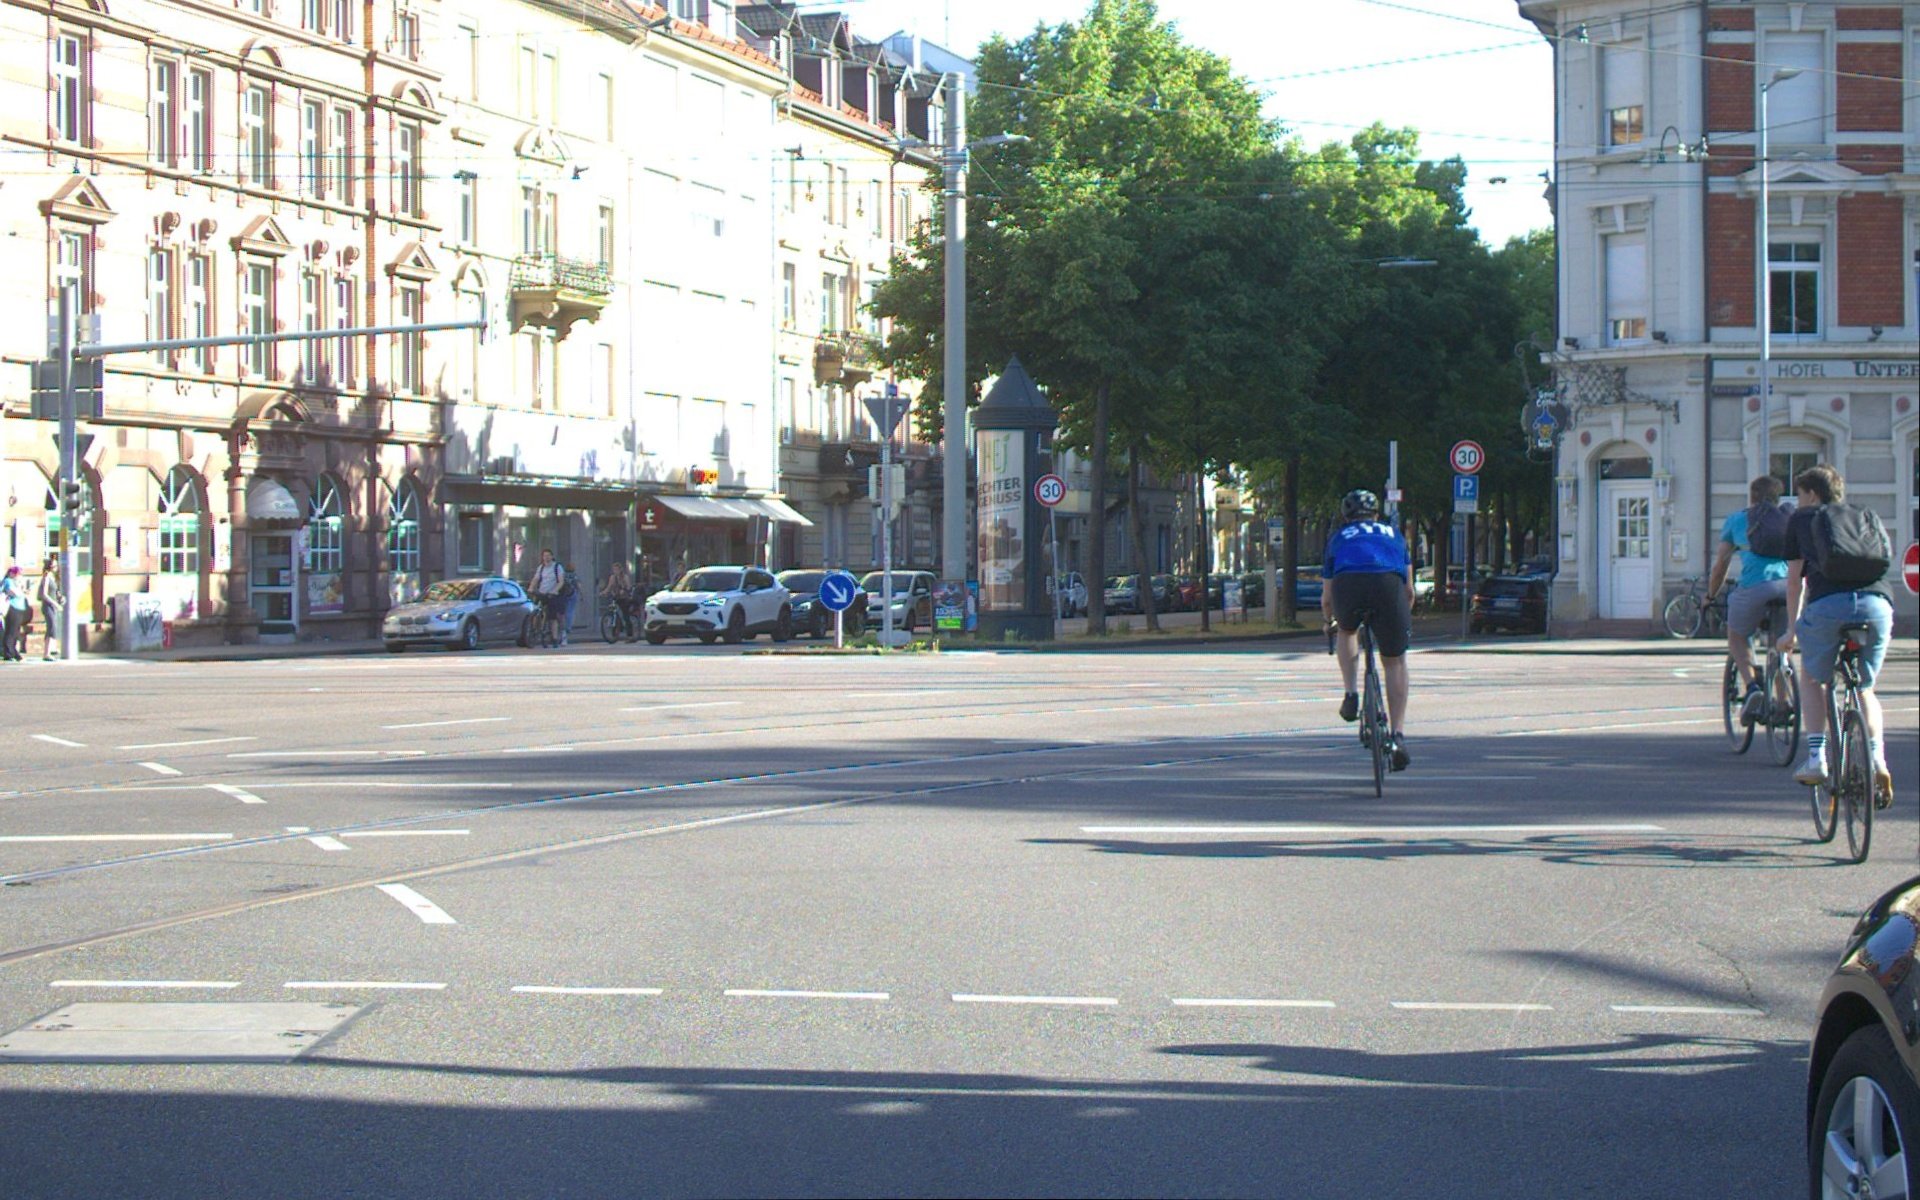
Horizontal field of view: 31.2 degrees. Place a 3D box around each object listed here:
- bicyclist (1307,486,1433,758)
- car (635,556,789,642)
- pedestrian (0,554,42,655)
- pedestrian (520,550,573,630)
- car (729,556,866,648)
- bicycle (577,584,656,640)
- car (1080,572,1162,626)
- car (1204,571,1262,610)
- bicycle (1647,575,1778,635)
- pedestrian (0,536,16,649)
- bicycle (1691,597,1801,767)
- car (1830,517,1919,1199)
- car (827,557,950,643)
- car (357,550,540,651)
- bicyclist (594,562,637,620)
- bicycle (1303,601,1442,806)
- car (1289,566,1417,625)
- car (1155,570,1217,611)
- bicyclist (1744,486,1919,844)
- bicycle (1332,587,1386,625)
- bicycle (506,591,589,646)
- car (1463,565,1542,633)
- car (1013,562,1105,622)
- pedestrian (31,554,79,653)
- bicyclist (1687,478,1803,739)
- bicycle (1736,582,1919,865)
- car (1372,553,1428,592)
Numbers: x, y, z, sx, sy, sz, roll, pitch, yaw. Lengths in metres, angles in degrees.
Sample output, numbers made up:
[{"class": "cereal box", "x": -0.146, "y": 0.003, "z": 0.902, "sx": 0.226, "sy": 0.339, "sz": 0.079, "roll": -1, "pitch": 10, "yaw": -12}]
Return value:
[{"class": "bicyclist", "x": 2.310, "y": 0.109, "z": 19.442, "sx": 0.639, "sy": 1.489, "sz": 0.883, "roll": 1, "pitch": 2, "yaw": 4}, {"class": "car", "x": -4.830, "y": -0.035, "z": 67.388, "sx": 1.994, "sy": 1.612, "sz": 3.998, "roll": 1, "pitch": 1, "yaw": 11}, {"class": "pedestrian", "x": -15.337, "y": 0.063, "z": 55.917, "sx": 0.633, "sy": 1.628, "sz": 0.701, "roll": 1, "pitch": 0, "yaw": -4}, {"class": "pedestrian", "x": -7.835, "y": -0.188, "z": 65.220, "sx": 0.821, "sy": 1.507, "sz": 0.598, "roll": 1, "pitch": 0, "yaw": 15}, {"class": "car", "x": -3.456, "y": 0.018, "z": 73.790, "sx": 1.994, "sy": 1.897, "sz": 3.998, "roll": 1, "pitch": 1, "yaw": 11}, {"class": "bicycle", "x": -7.027, "y": 0.236, "z": 70.506, "sx": 0.651, "sy": 1.119, "sz": 2.250, "roll": 1, "pitch": 1, "yaw": 21}, {"class": "car", "x": 5.758, "y": -0.047, "z": 122.695, "sx": 1.995, "sy": 1.897, "sz": 3.997, "roll": 1, "pitch": 1, "yaw": 17}, {"class": "car", "x": 10.800, "y": -0.389, "z": 135.838, "sx": 1.560, "sy": 1.508, "sz": 3.653, "roll": 1, "pitch": 1, "yaw": 17}, {"class": "bicycle", "x": 12.490, "y": 0.081, "z": 57.104, "sx": 2.049, "sy": 0.994, "sz": 0.630, "roll": 0, "pitch": 0, "yaw": 3}, {"class": "pedestrian", "x": -16.143, "y": -0.133, "z": 57.382, "sx": 0.633, "sy": 1.875, "sz": 0.465, "roll": 1, "pitch": 0, "yaw": -4}, {"class": "bicycle", "x": 5.056, "y": 0.506, "z": 22.140, "sx": 0.650, "sy": 1.028, "sz": 1.770, "roll": 1, "pitch": 1, "yaw": 13}, {"class": "car", "x": 2.636, "y": 0.686, "z": 4.841, "sx": 1.728, "sy": 1.502, "sz": 4.051, "roll": 1, "pitch": 2, "yaw": -1}, {"class": "car", "x": -1.631, "y": -0.017, "z": 79.810, "sx": 1.994, "sy": 1.897, "sz": 3.998, "roll": 1, "pitch": 1, "yaw": 11}, {"class": "car", "x": -9.953, "y": -0.005, "z": 67.168, "sx": 1.995, "sy": 1.897, "sz": 3.997, "roll": 1, "pitch": 1, "yaw": 17}, {"class": "bicyclist", "x": -7.046, "y": -0.187, "z": 70.379, "sx": 0.632, "sy": 1.181, "sz": 0.684, "roll": 1, "pitch": 0, "yaw": 21}, {"class": "bicycle", "x": 2.305, "y": 0.556, "z": 19.373, "sx": 0.626, "sy": 1.081, "sz": 1.703, "roll": 1, "pitch": 1, "yaw": 2}, {"class": "car", "x": 13.152, "y": -0.164, "z": 114.987, "sx": 3.990, "sy": 1.897, "sz": 1.998, "roll": 1, "pitch": 0, "yaw": 16}, {"class": "car", "x": 8.691, "y": -0.372, "z": 131.870, "sx": 1.560, "sy": 1.508, "sz": 3.653, "roll": 1, "pitch": 1, "yaw": 17}, {"class": "bicyclist", "x": 4.111, "y": 0.287, "z": 15.907, "sx": 0.806, "sy": 1.601, "sz": 0.883, "roll": 1, "pitch": 0, "yaw": 5}, {"class": "bicycle", "x": 11.497, "y": 0.169, "z": 99.084, "sx": 0.626, "sy": 1.081, "sz": 1.703, "roll": 1, "pitch": 1, "yaw": -31}, {"class": "bicycle", "x": -7.821, "y": 0.339, "z": 65.299, "sx": 0.763, "sy": 1.004, "sz": 2.395, "roll": 1, "pitch": 1, "yaw": 13}, {"class": "car", "x": 13.061, "y": -0.041, "z": 82.606, "sx": 1.692, "sy": 1.559, "sz": 3.839, "roll": 1, "pitch": 1, "yaw": 11}, {"class": "car", "x": 3.271, "y": -0.277, "z": 112.716, "sx": 1.995, "sy": 1.897, "sz": 3.997, "roll": 1, "pitch": 1, "yaw": 17}, {"class": "pedestrian", "x": -15.073, "y": 0.051, "z": 57.265, "sx": 0.633, "sy": 1.628, "sz": 0.701, "roll": 1, "pitch": 0, "yaw": -4}, {"class": "bicyclist", "x": 5.025, "y": 0.047, "z": 22.053, "sx": 0.690, "sy": 1.627, "sz": 0.883, "roll": 1, "pitch": 0, "yaw": 12}, {"class": "bicycle", "x": 4.114, "y": 0.540, "z": 15.970, "sx": 0.755, "sy": 1.232, "sz": 1.702, "roll": 1, "pitch": 0, "yaw": 5}, {"class": "car", "x": 17.243, "y": -1.068, "z": 134.635, "sx": 1.560, "sy": 1.508, "sz": 3.653, "roll": 1, "pitch": 1, "yaw": 17}]
